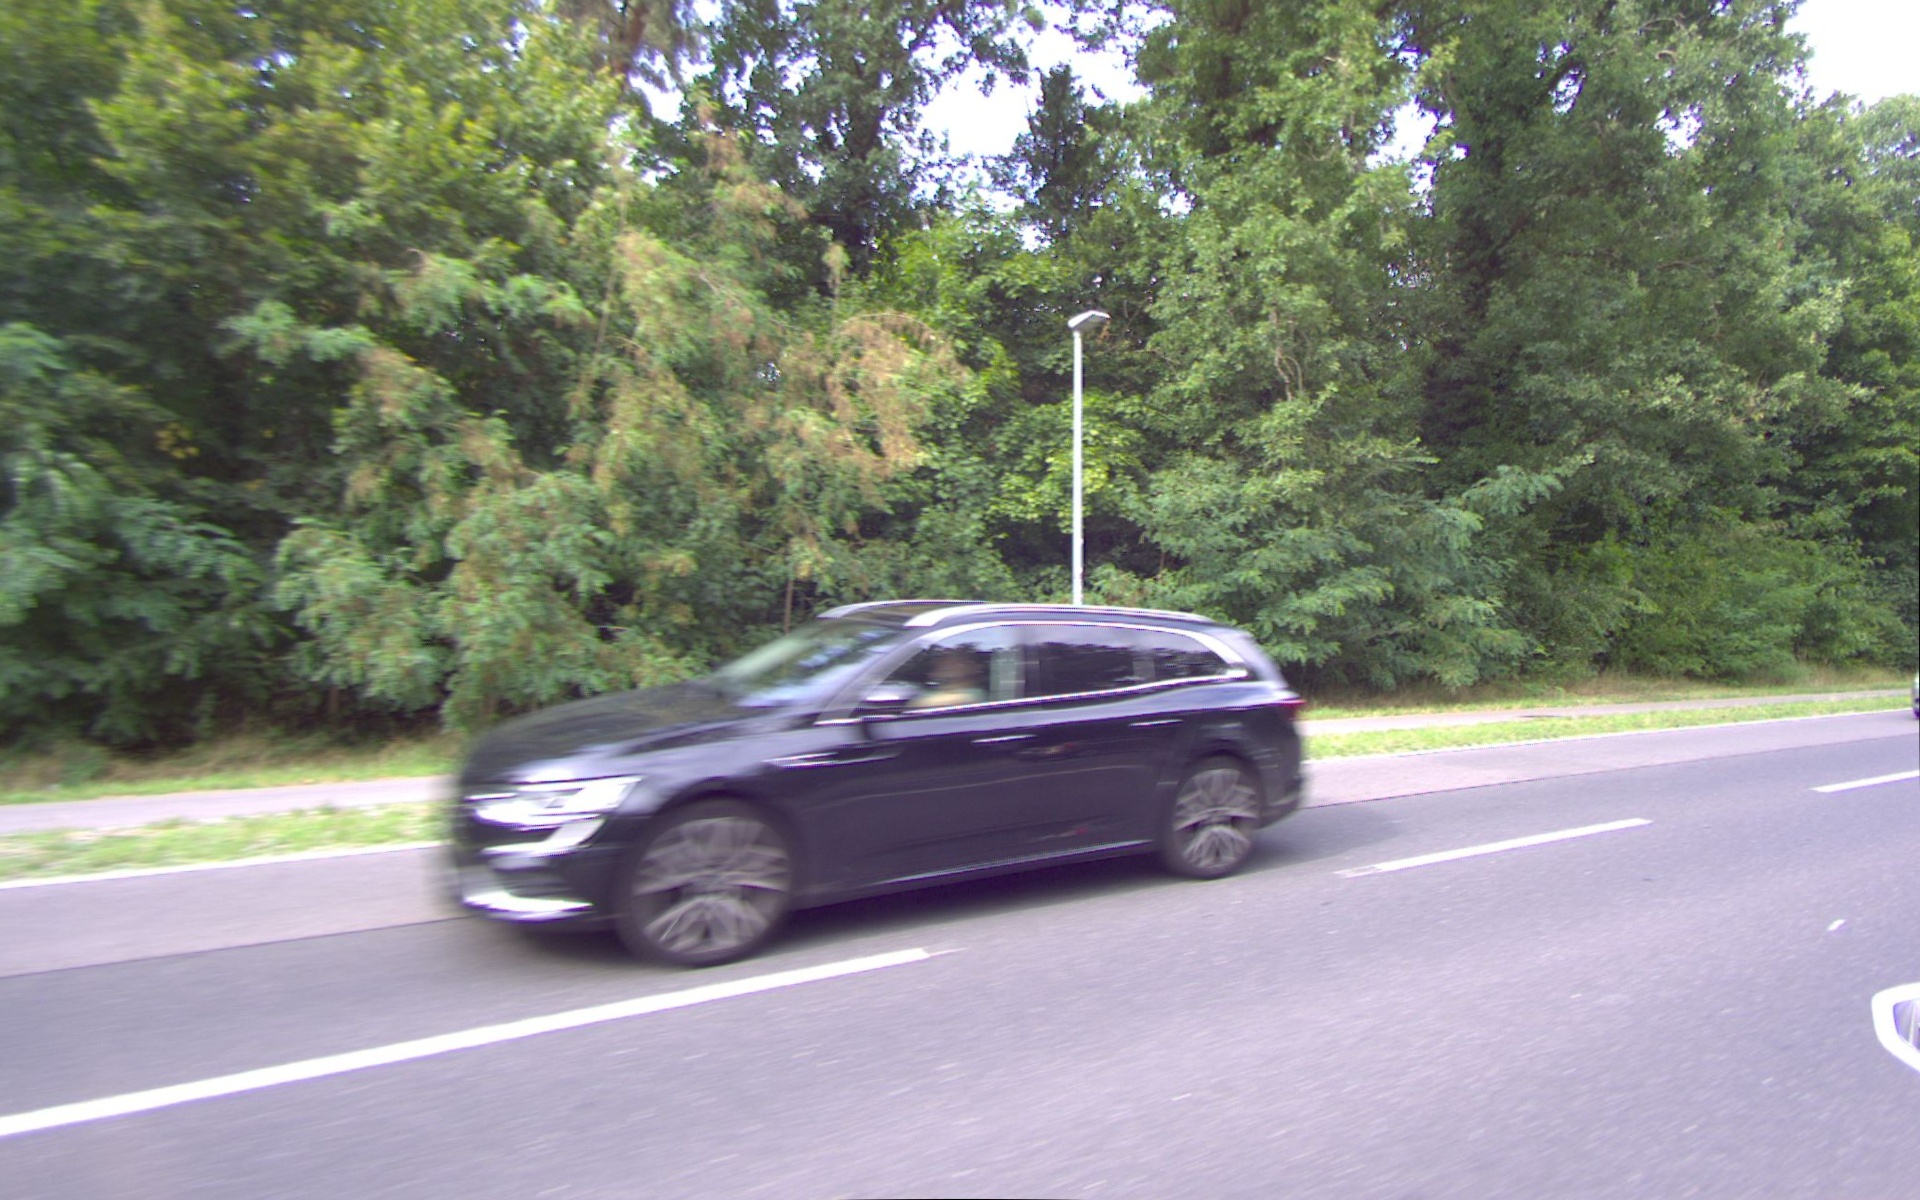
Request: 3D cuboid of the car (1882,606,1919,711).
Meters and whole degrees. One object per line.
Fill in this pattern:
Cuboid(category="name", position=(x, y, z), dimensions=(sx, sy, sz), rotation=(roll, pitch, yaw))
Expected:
Cuboid(category="car", position=(16.872, 0.997, 15.849), dimensions=(4.546, 1.584, 1.985), rotation=(2, 1, -28))

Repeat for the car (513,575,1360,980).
Cuboid(category="car", position=(-0.001, 0.673, 5.593), dimensions=(4.353, 1.462, 1.871), rotation=(1, 1, -31))
